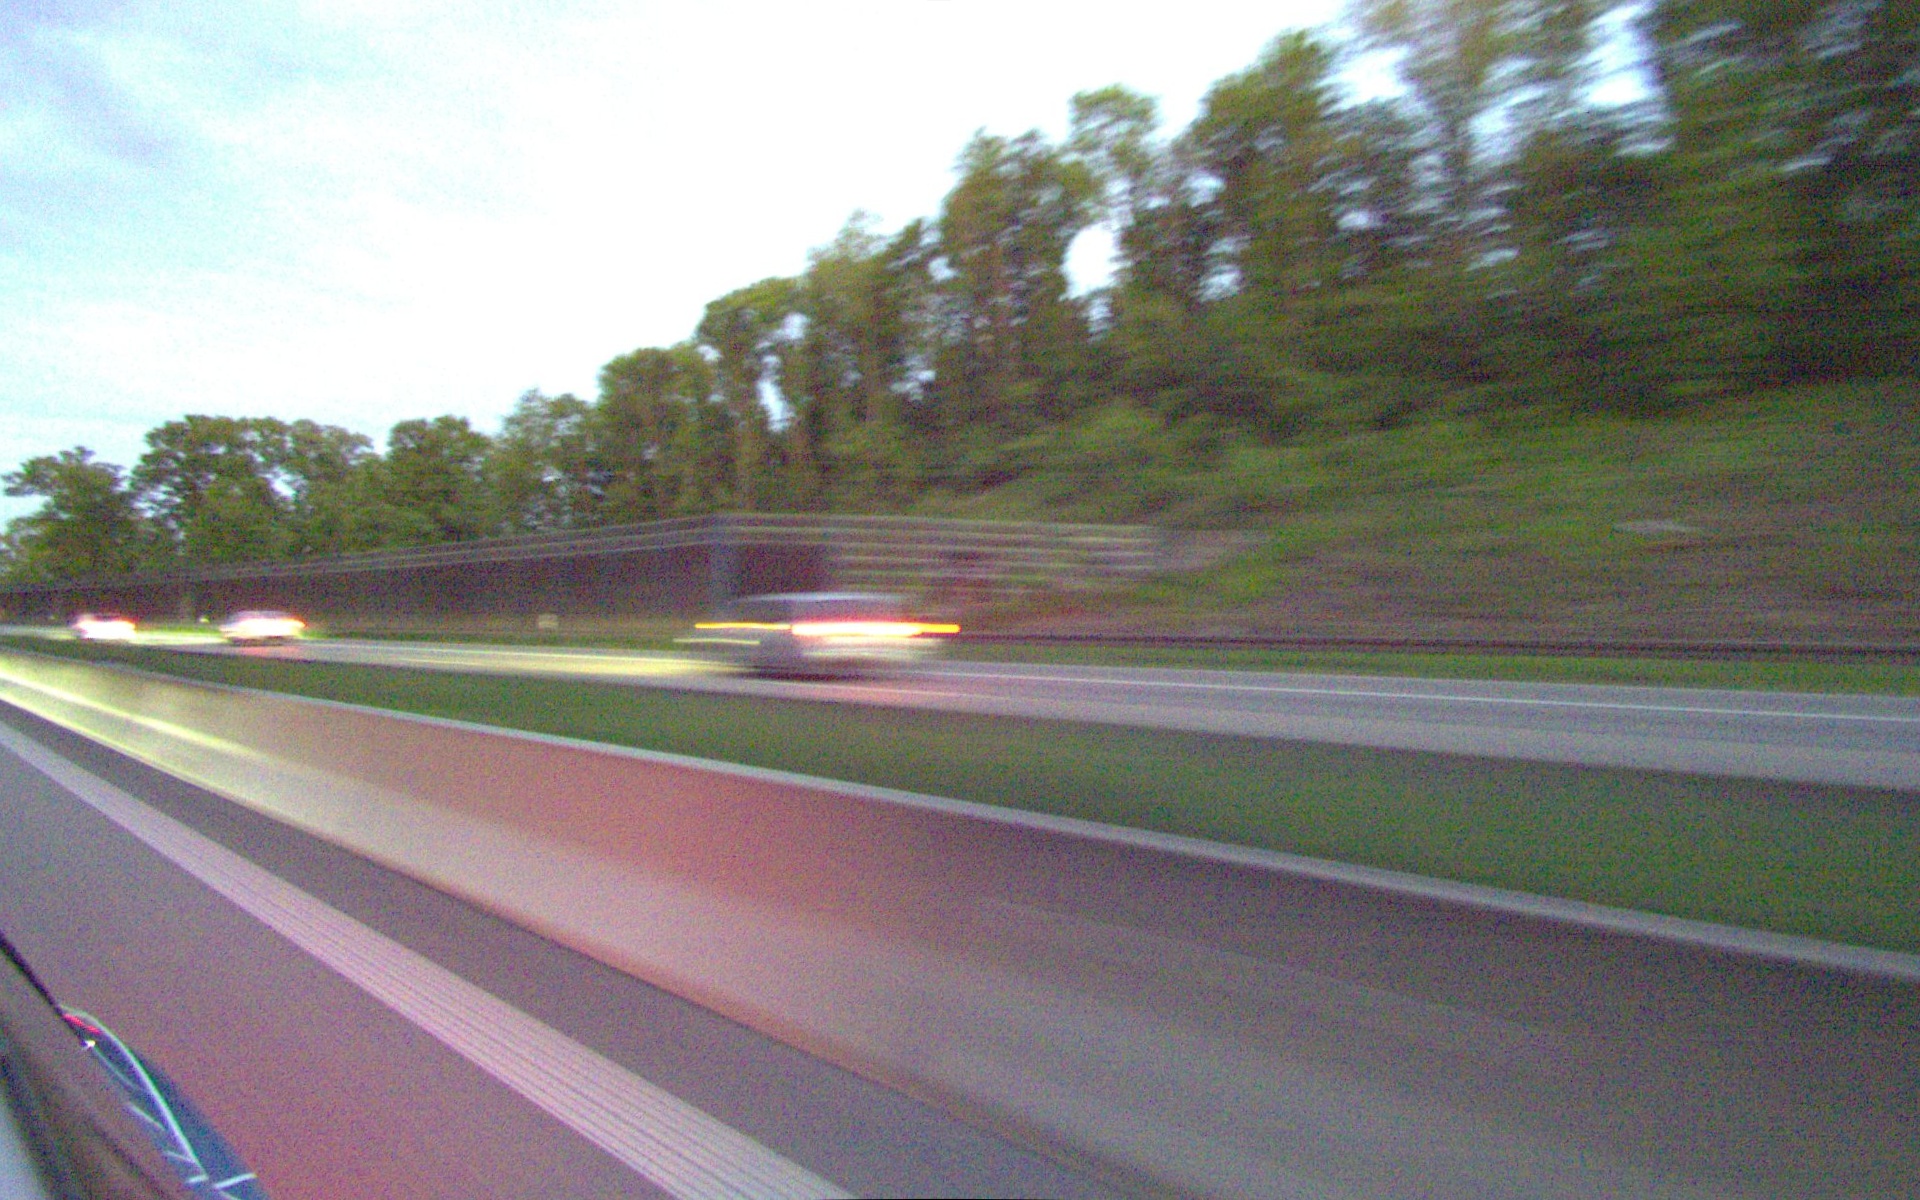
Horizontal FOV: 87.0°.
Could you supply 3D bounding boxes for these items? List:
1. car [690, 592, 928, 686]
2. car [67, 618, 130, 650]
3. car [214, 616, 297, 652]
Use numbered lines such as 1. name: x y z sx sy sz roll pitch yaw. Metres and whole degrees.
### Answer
1. car: -3.261 0.774 21.073 5.281 1.729 1.899 -2 -1 40
2. car: -44.447 1.722 52.190 4.333 1.568 1.801 -2 -2 41
3. car: -33.042 1.556 47.414 5.089 1.572 1.868 -2 -1 39
